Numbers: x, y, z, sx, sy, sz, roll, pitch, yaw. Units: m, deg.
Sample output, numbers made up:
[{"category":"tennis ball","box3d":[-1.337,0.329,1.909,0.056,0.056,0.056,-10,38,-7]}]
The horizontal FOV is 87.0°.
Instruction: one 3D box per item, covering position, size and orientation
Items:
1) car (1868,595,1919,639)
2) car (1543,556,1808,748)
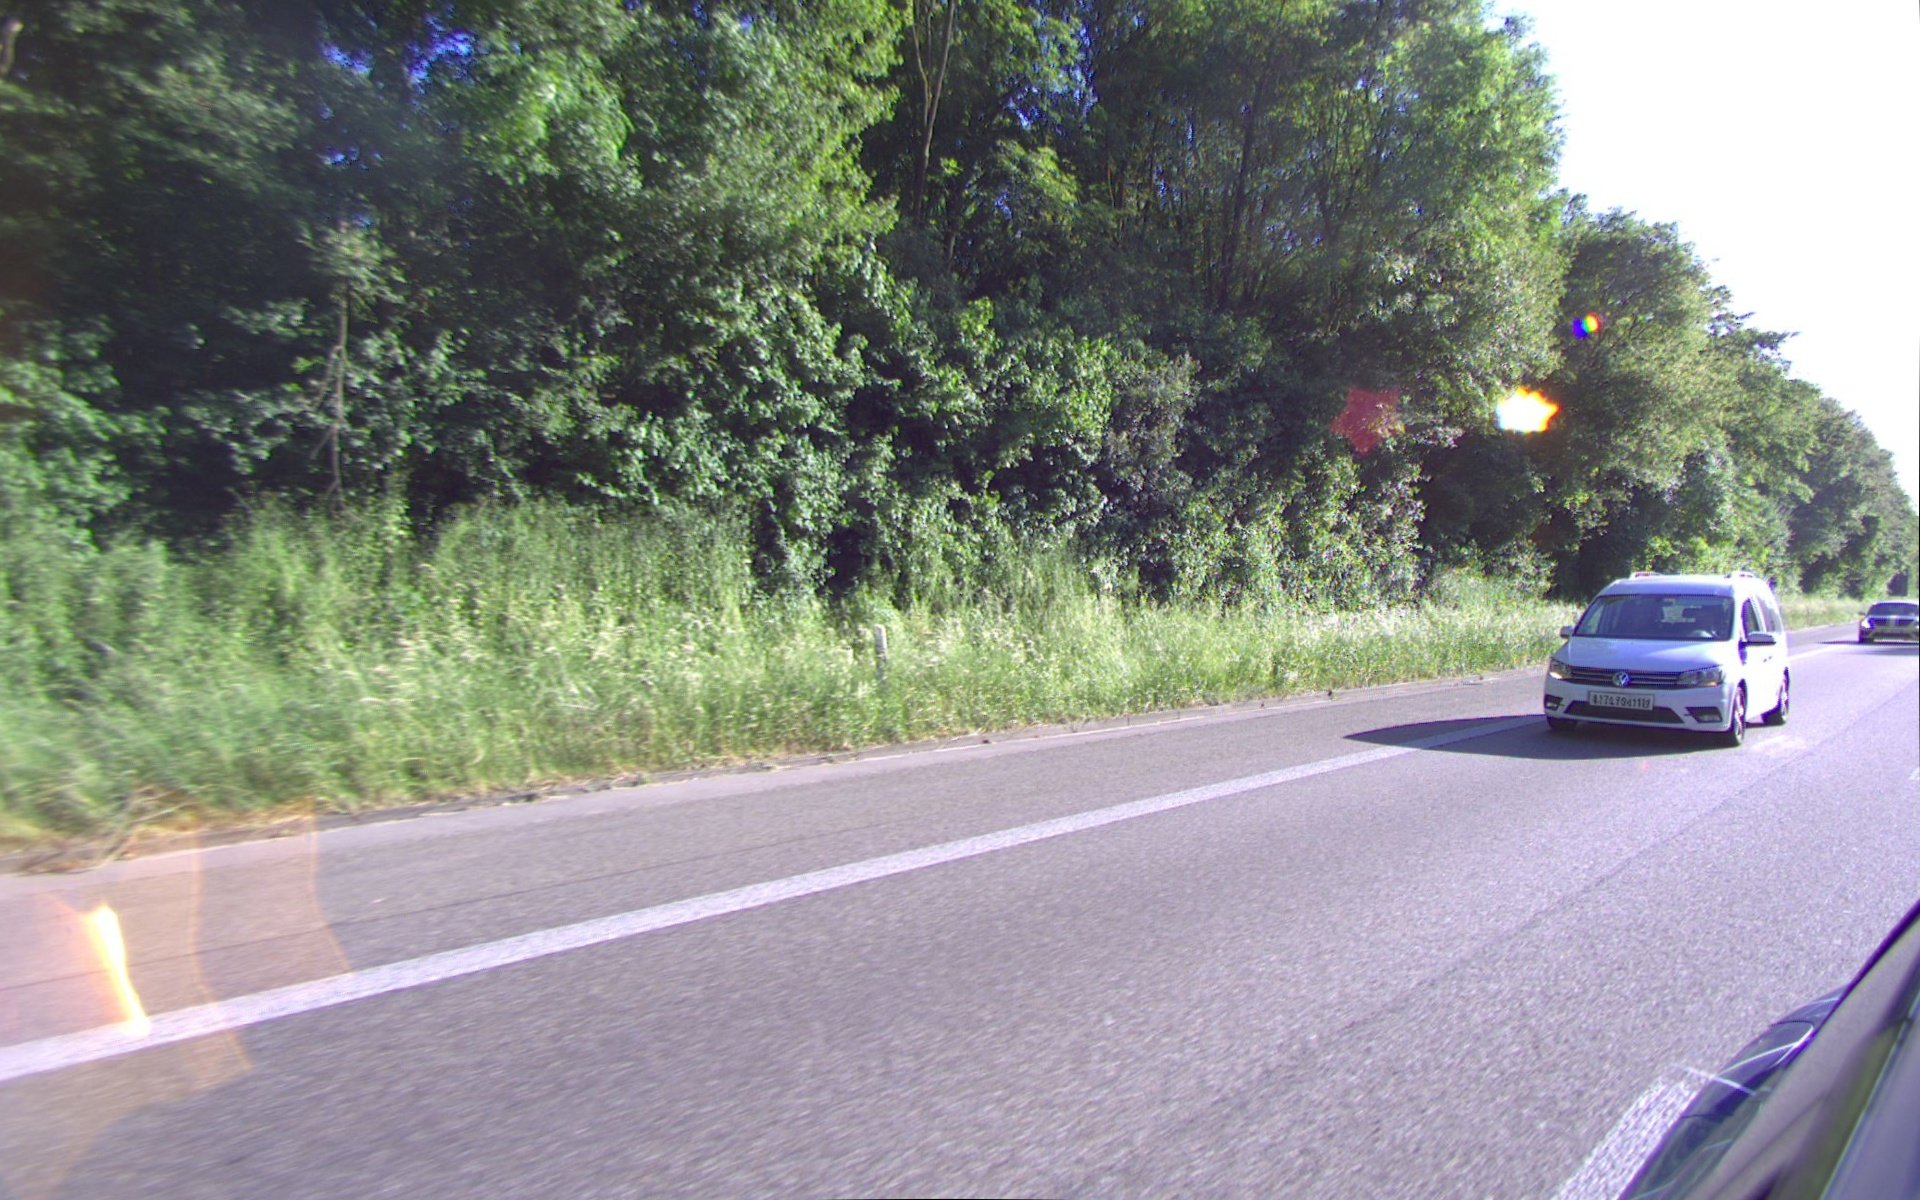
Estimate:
[{"category":"car","box3d":[33.186,0.559,35.493,1.791,1.467,3.815,0,0,45]},{"category":"car","box3d":[8.546,0.467,11.917,4.513,1.835,1.800,-1,1,-45]}]
